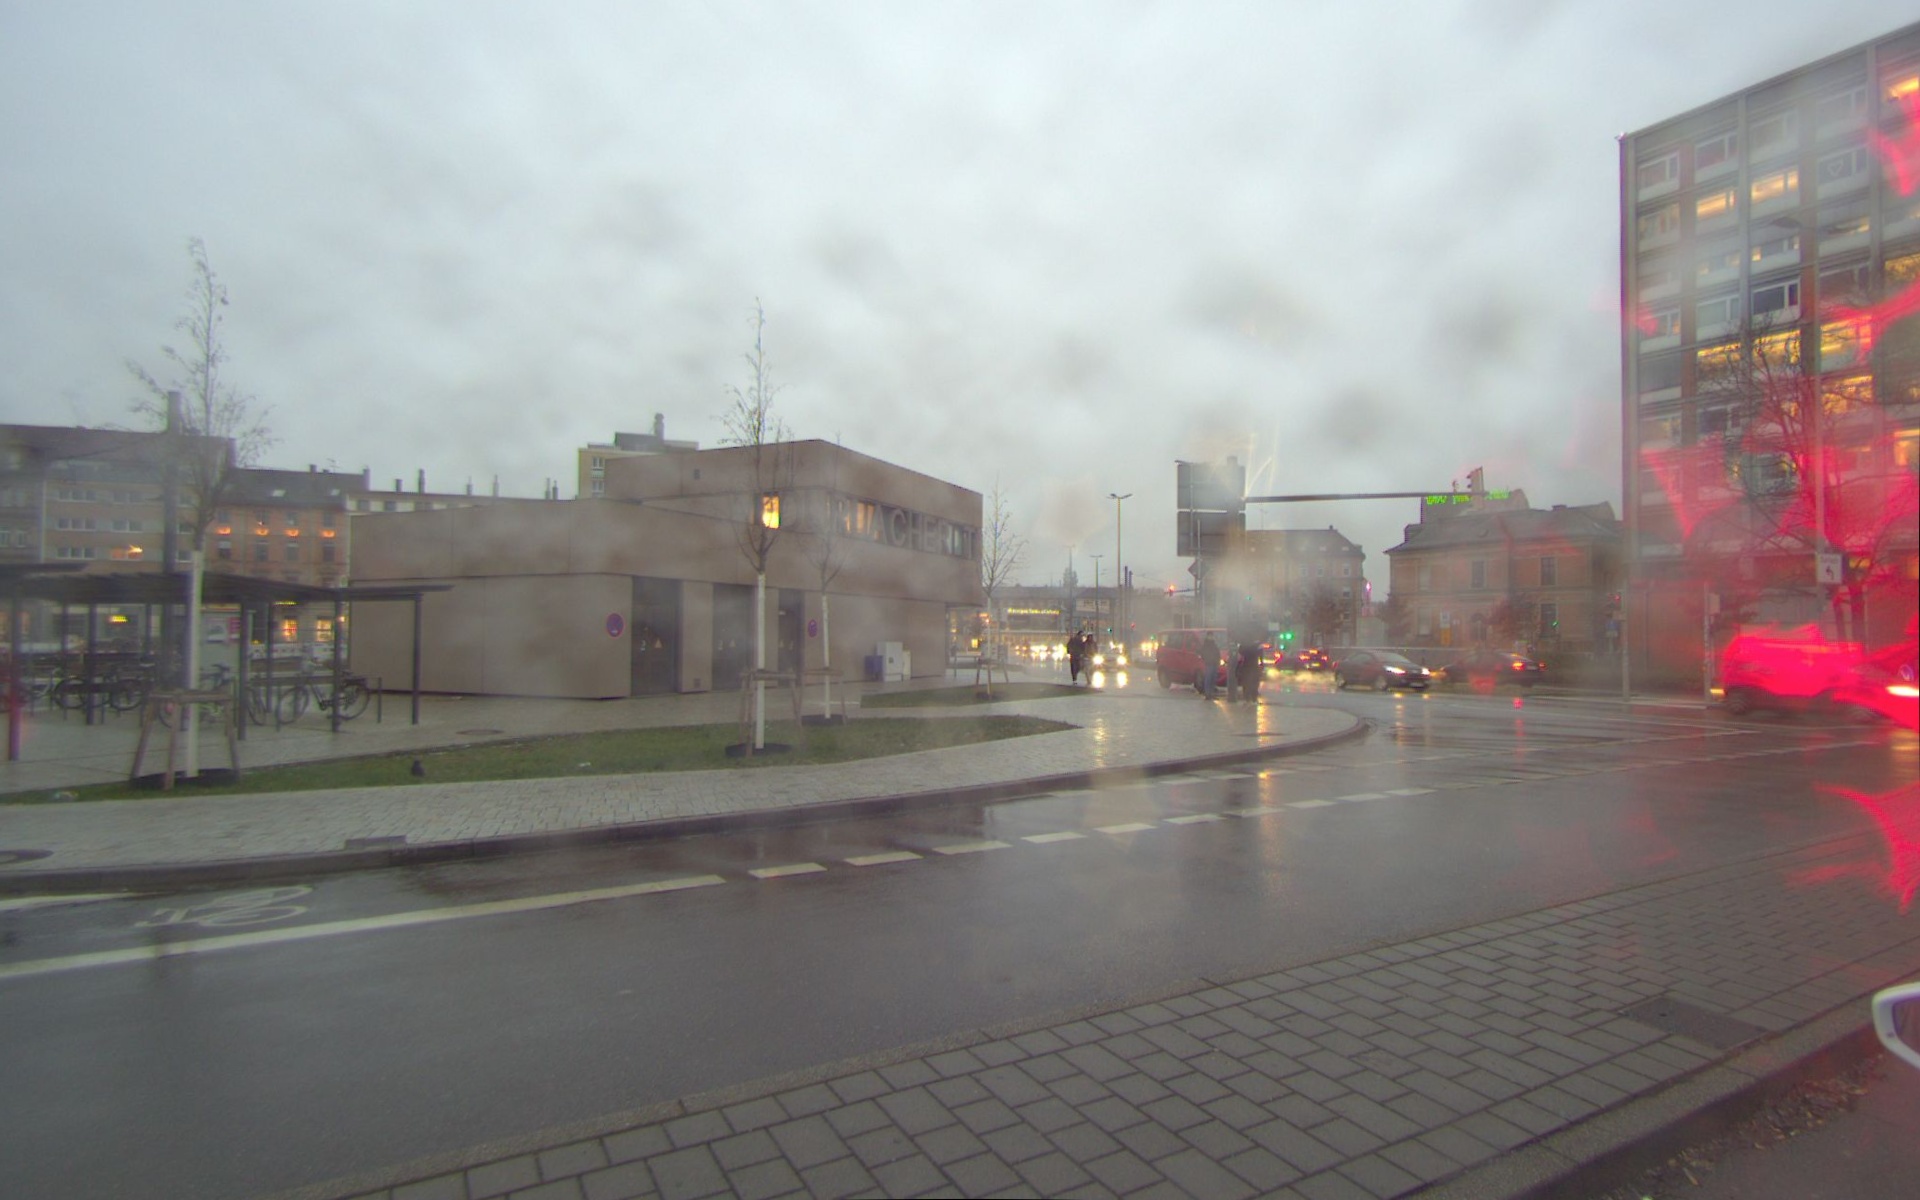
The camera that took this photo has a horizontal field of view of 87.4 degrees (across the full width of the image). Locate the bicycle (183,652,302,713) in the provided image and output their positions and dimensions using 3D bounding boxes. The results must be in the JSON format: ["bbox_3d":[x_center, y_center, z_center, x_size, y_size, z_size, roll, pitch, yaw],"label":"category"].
[{"bbox_3d":[-14.691,1.666,20.626,0.541,1.180,1.895,2,-2,30],"label":"bicycle"}]

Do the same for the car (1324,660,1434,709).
[{"bbox_3d":[15.011,3.017,36.213,1.578,1.468,3.827,3,-1,-16],"label":"car"}]

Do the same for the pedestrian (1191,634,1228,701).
[{"bbox_3d":[6.601,1.777,26.612,0.781,1.719,0.461,3,-1,-7],"label":"pedestrian"}]

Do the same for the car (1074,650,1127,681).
[{"bbox_3d":[7.851,3.655,56.393,1.578,1.468,3.637,3,-1,-16],"label":"car"}]

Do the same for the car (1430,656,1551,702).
[{"bbox_3d":[22.166,3.270,42.179,1.936,1.601,4.433,3,-1,-16],"label":"car"}]

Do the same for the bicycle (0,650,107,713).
[{"bbox_3d":[-18.387,1.607,20.110,0.541,1.180,1.895,2,-2,30],"label":"bicycle"}]

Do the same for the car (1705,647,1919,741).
[{"bbox_3d":[18.834,1.967,21.790,1.731,1.706,4.069,3,-1,-16],"label":"car"}]

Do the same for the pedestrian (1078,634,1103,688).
[{"bbox_3d":[4.413,2.050,33.907,0.576,1.795,0.610,3,-1,-16],"label":"pedestrian"}]

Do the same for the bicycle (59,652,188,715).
[{"bbox_3d":[-16.875,1.653,20.318,0.541,1.180,1.895,2,-2,30],"label":"bicycle"}]

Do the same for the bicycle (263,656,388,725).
[{"bbox_3d":[-11.811,1.663,18.760,0.541,1.180,1.895,2,-2,30],"label":"bicycle"}]

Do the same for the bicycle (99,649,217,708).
[{"bbox_3d":[-17.372,1.678,21.806,0.541,1.180,1.895,2,-2,30],"label":"bicycle"}]

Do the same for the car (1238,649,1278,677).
[{"bbox_3d":[19.227,4.062,64.835,1.536,1.626,3.413,3,-1,0],"label":"car"}]

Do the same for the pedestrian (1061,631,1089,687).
[{"bbox_3d":[3.851,1.968,33.664,0.670,1.839,0.692,3,-1,-16],"label":"pedestrian"}]

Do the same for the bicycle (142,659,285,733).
[{"bbox_3d":[-12.930,1.637,17.468,0.541,1.180,1.895,2,-2,30],"label":"bicycle"}]

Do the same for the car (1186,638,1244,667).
[{"bbox_3d":[18.673,3.801,73.785,1.966,1.938,5.157,1,-1,-14],"label":"car"}]

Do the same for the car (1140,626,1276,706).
[{"bbox_3d":[7.989,2.069,32.911,2.220,2.311,5.025,3,-1,-13],"label":"car"}]
